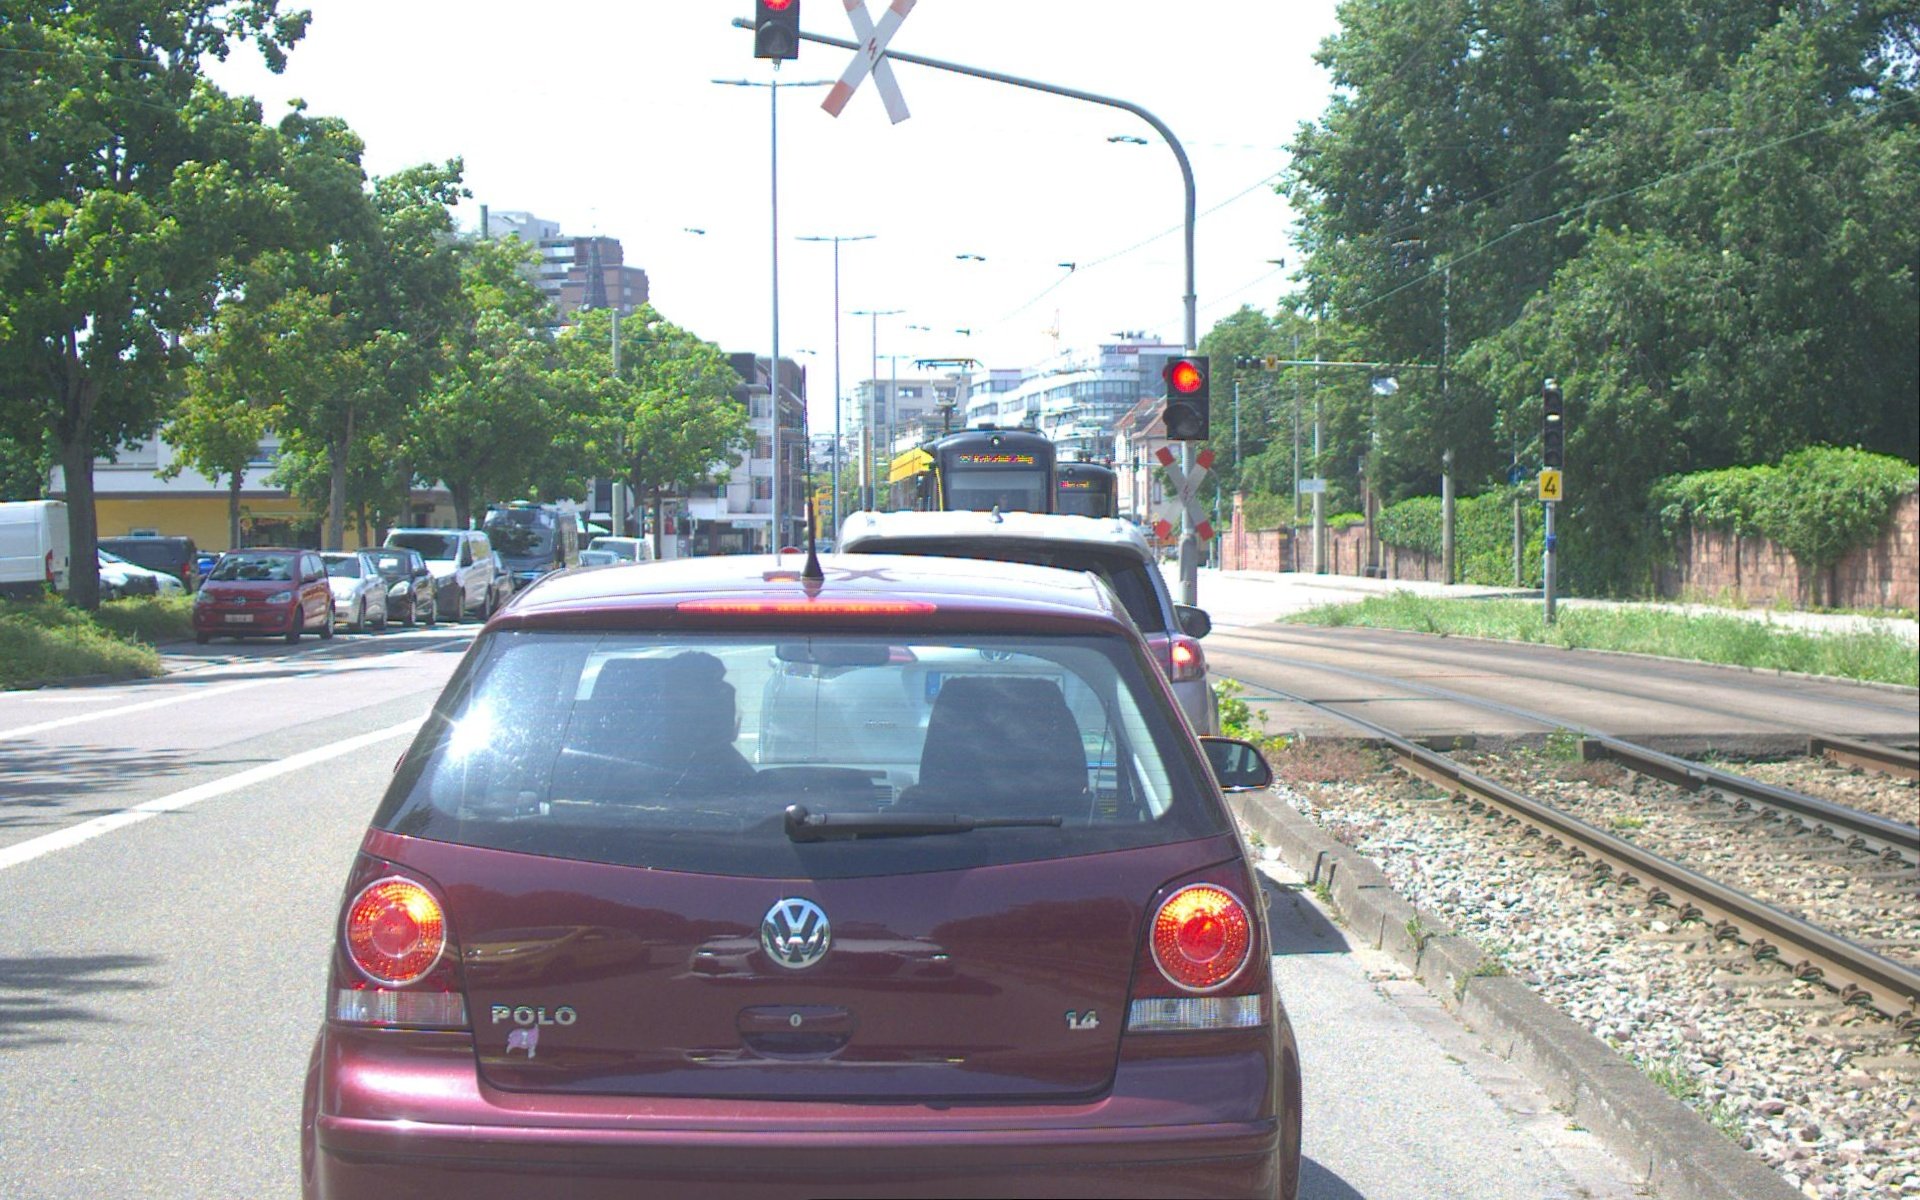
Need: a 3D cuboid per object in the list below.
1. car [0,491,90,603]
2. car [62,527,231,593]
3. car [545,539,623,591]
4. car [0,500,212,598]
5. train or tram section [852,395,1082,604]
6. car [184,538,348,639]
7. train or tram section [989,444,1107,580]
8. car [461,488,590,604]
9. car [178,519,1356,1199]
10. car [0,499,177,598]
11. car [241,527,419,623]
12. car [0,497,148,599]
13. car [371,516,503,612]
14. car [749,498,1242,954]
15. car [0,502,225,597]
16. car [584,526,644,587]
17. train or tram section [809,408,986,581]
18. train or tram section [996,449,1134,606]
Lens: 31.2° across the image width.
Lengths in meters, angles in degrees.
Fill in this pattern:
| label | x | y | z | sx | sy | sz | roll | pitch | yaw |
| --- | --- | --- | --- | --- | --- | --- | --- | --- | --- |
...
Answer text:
| label | x | y | z | sx | sy | sz | roll | pitch | yaw |
| --- | --- | --- | --- | --- | --- | --- | --- | --- | --- |
| car | -20.860 | -1.145 | 70.979 | 5.097 | 2.237 | 2.378 | 2 | 0 | 1 |
| car | -21.693 | -1.059 | 91.757 | 4.020 | 1.611 | 1.816 | 2 | 0 | 1 |
| car | -11.056 | -1.021 | 101.326 | 1.614 | 1.436 | 4.000 | 2 | 0 | 3 |
| car | -21.282 | -1.251 | 84.751 | 5.097 | 2.237 | 2.378 | 2 | 0 | 1 |
| train or tram section | -0.066 | -1.940 | 67.180 | 2.740 | 3.597 | 12.873 | 2 | 1 | -7 |
| car | -10.942 | -0.185 | 54.421 | 1.663 | 1.491 | 4.000 | 2 | 0 | 1 |
| train or tram section | 2.518 | -2.601 | 102.921 | 3.028 | 3.785 | 13.090 | -1 | 1 | -1 |
| car | -10.602 | -1.287 | 84.243 | 2.361 | 2.683 | 5.307 | 2 | 0 | 0 |
| car | -0.327 | 0.618 | 6.951 | 1.672 | 1.516 | 4.000 | 1 | 1 | -1 |
| car | -21.598 | -1.245 | 82.280 | 5.097 | 2.237 | 2.378 | 2 | 0 | 1 |
| car | -11.119 | -0.437 | 60.968 | 1.976 | 1.595 | 4.557 | 2 | 0 | 4 |
| car | -21.553 | -1.224 | 79.092 | 5.097 | 2.237 | 2.378 | 2 | 0 | 1 |
| car | -10.791 | -0.727 | 71.205 | 1.783 | 1.875 | 4.785 | 2 | 0 | 2 |
| car | 0.085 | 0.423 | 14.662 | 1.777 | 1.641 | 4.000 | 1 | 1 | -1 |
| car | -21.540 | -1.276 | 87.475 | 5.097 | 2.237 | 2.378 | 2 | 0 | 1 |
| car | -10.814 | -1.364 | 107.528 | 1.774 | 1.822 | 4.001 | 2 | 0 | -6 |
| train or tram section | -1.561 | -2.374 | 78.441 | 2.740 | 3.597 | 10.953 | 2 | 1 | -7 |
| train or tram section | 2.616 | -1.892 | 90.041 | 3.028 | 3.785 | 13.091 | -1 | 1 | -1 |
